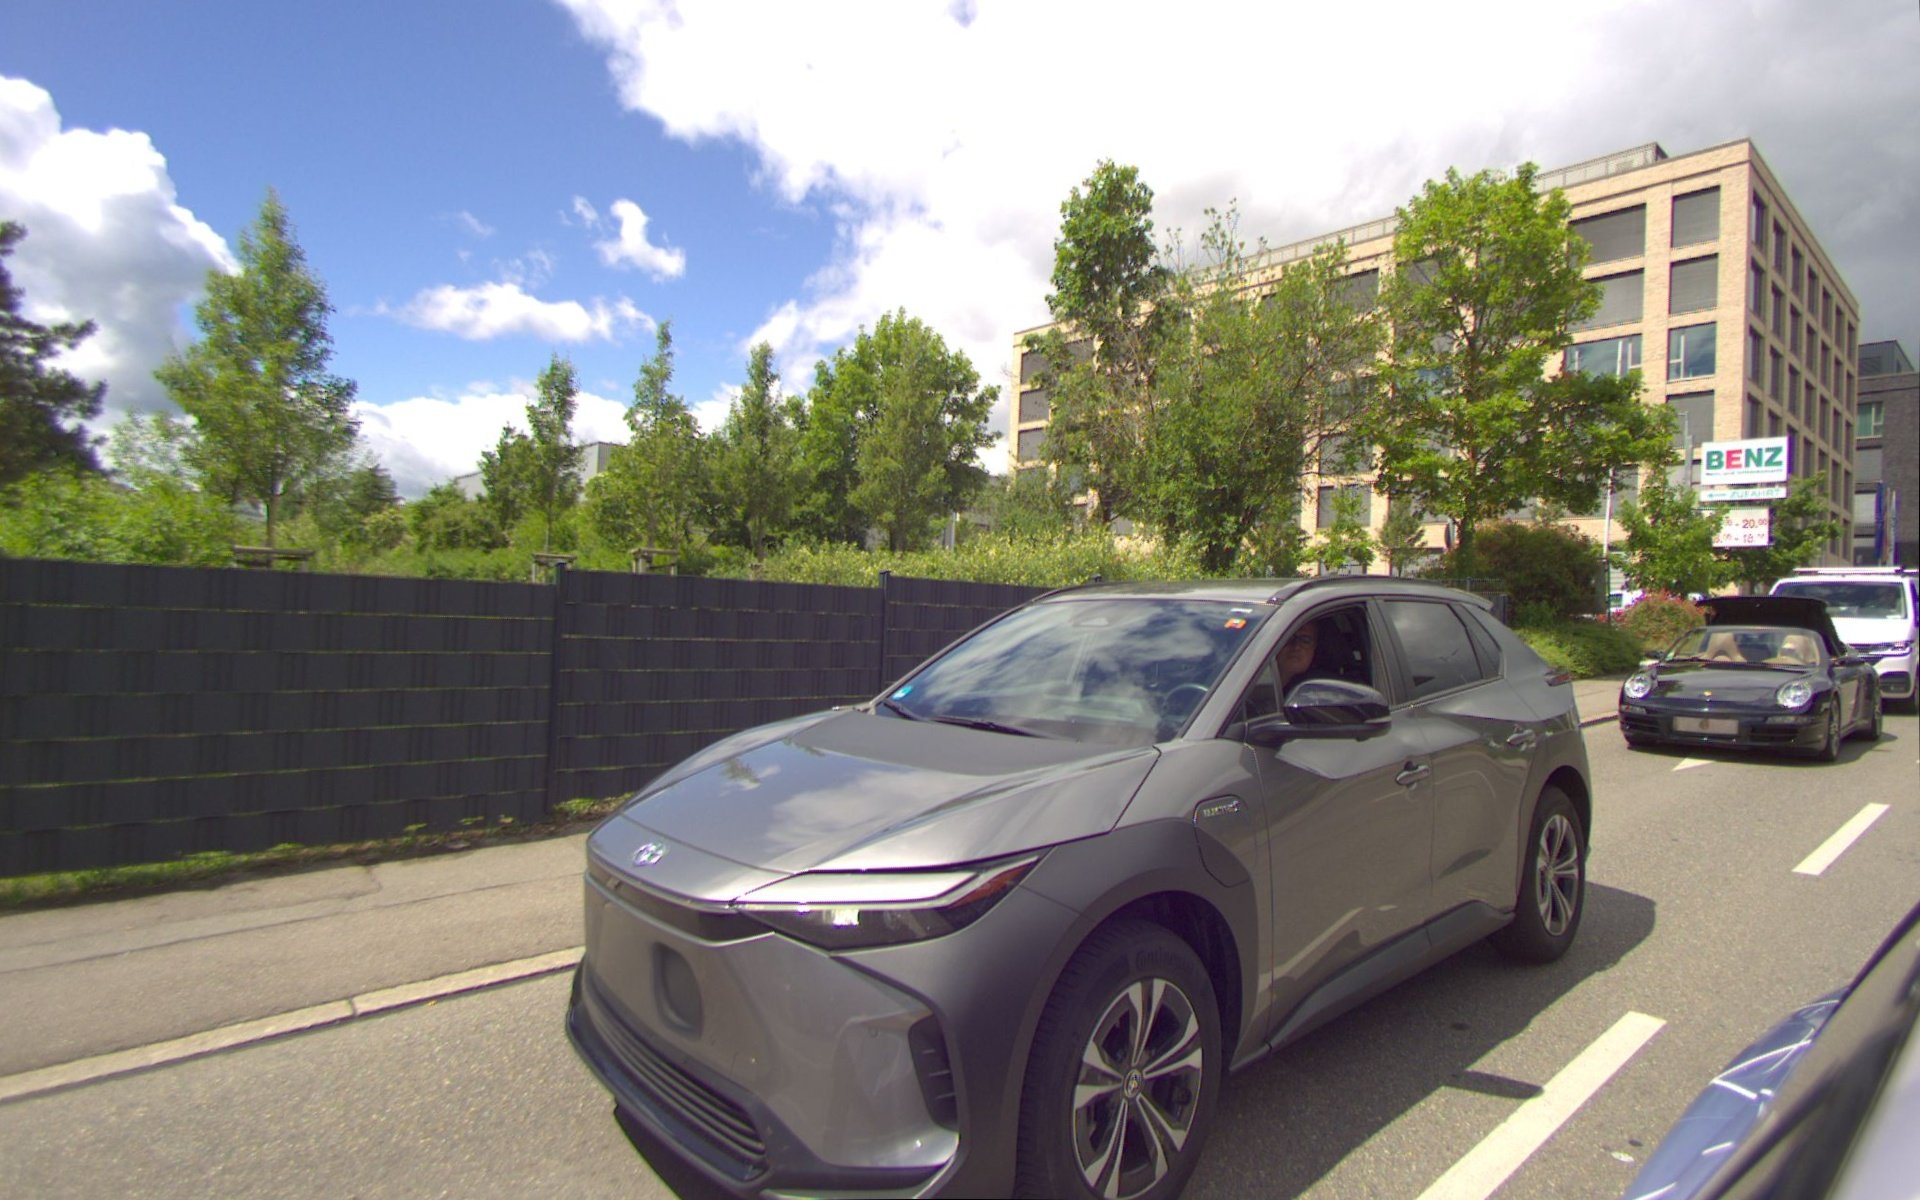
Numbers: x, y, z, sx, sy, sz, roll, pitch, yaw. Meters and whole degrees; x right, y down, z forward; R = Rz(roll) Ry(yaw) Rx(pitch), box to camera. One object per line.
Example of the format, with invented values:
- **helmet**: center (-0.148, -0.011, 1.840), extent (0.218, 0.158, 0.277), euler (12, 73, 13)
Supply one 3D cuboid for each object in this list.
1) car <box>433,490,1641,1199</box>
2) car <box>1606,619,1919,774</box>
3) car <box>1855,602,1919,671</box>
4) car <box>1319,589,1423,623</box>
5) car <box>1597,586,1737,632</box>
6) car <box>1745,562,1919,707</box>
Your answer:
- **car**: center (0.756, 0.659, 3.858), extent (4.601, 1.634, 1.922), euler (0, -1, -41)
- **car**: center (8.717, 0.869, 10.833), extent (4.487, 1.290, 1.776), euler (0, -1, -40)
- **car**: center (20.503, 0.728, 21.238), extent (4.485, 1.290, 1.778), euler (0, 1, -38)
- **car**: center (19.390, 0.266, 47.857), extent (1.705, 1.436, 4.215), euler (1, 1, -41)
- **car**: center (27.347, 0.322, 39.244), extent (1.707, 1.596, 4.211), euler (1, 1, -44)
- **car**: center (13.615, 0.467, 15.262), extent (4.563, 1.874, 1.962), euler (0, -1, -41)
